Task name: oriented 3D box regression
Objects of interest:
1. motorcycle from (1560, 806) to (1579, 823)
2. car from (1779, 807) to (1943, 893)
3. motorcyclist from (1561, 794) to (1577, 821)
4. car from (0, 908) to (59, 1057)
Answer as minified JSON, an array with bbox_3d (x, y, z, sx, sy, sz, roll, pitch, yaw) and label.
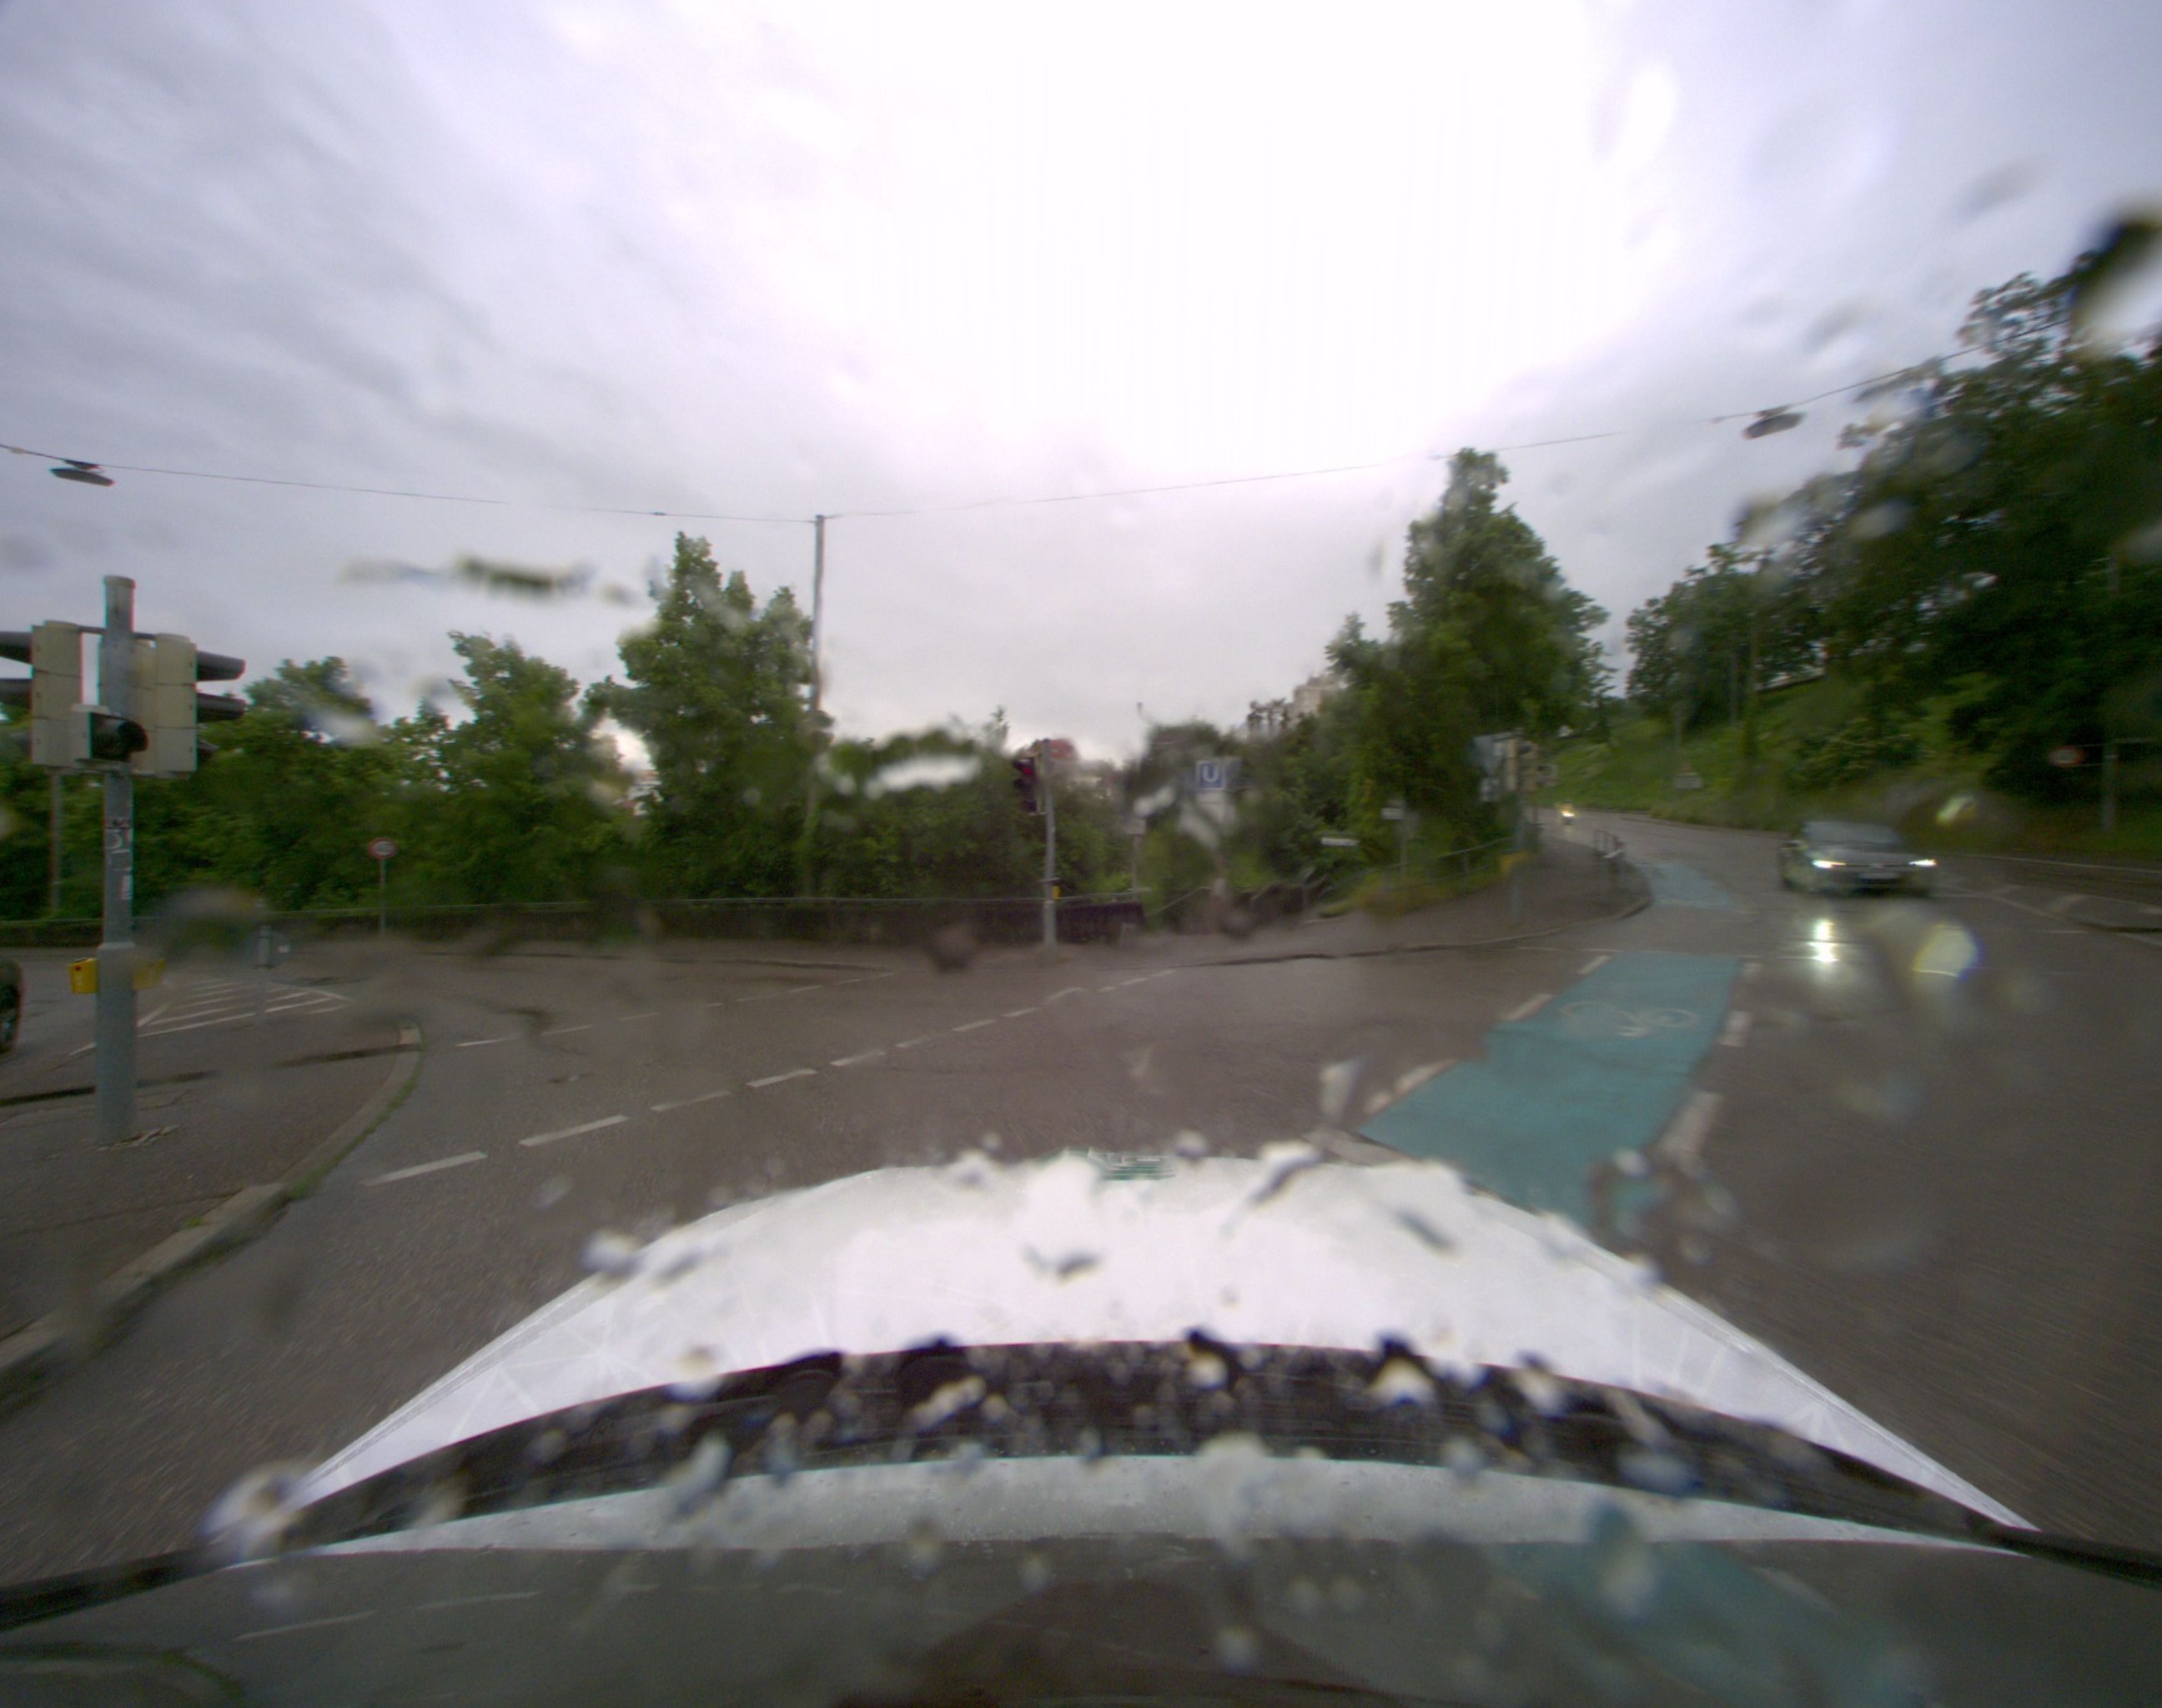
[{"bbox_3d":[34.571,-2.808,57.680,0.930,1.143,2.662,0,3,26],"label":"motorcycle"},{"bbox_3d":[16.124,-0.160,17.089,1.864,1.521,4.723,-2,2,36],"label":"car"},{"bbox_3d":[34.690,-3.332,57.864,0.876,1.873,1.262,-1,3,26],"label":"motorcyclist"},{"bbox_3d":[-10.724,1.272,6.746,1.875,1.395,4.542,-3,0,-40],"label":"car"}]
